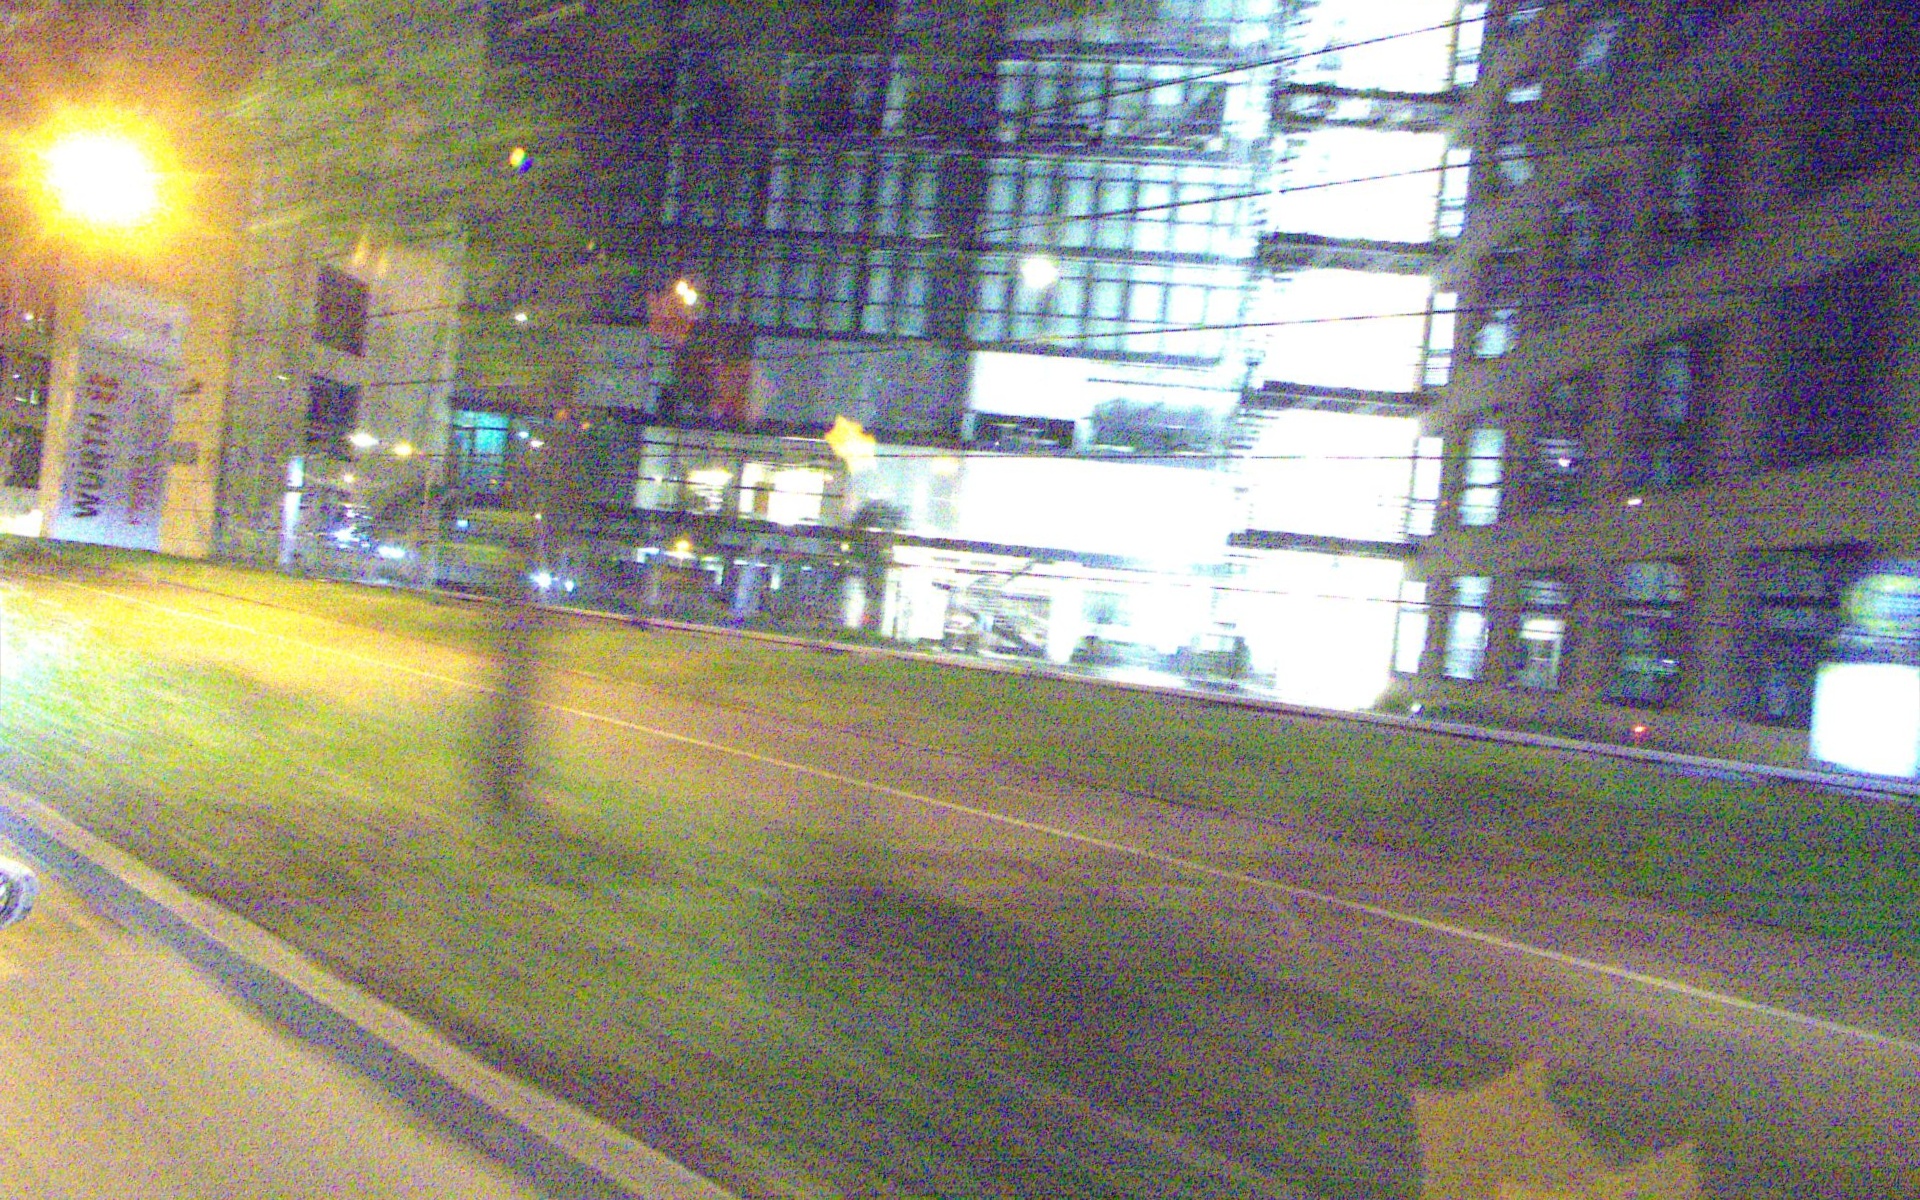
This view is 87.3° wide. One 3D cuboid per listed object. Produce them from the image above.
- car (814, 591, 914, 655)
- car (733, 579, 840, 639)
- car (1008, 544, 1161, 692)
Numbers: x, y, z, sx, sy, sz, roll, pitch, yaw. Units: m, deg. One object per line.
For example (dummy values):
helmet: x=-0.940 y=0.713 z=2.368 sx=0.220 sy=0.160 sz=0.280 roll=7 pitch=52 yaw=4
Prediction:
car: x=-1.986 y=0.509 z=21.502 sx=1.276 sy=1.098 sz=3.174 roll=8 pitch=-1 yaw=9
car: x=-3.910 y=0.246 z=23.217 sx=1.297 sy=1.107 sz=3.439 roll=8 pitch=-1 yaw=9
car: x=2.066 y=0.310 z=16.426 sx=1.962 sy=1.885 sz=3.779 roll=8 pitch=0 yaw=9
